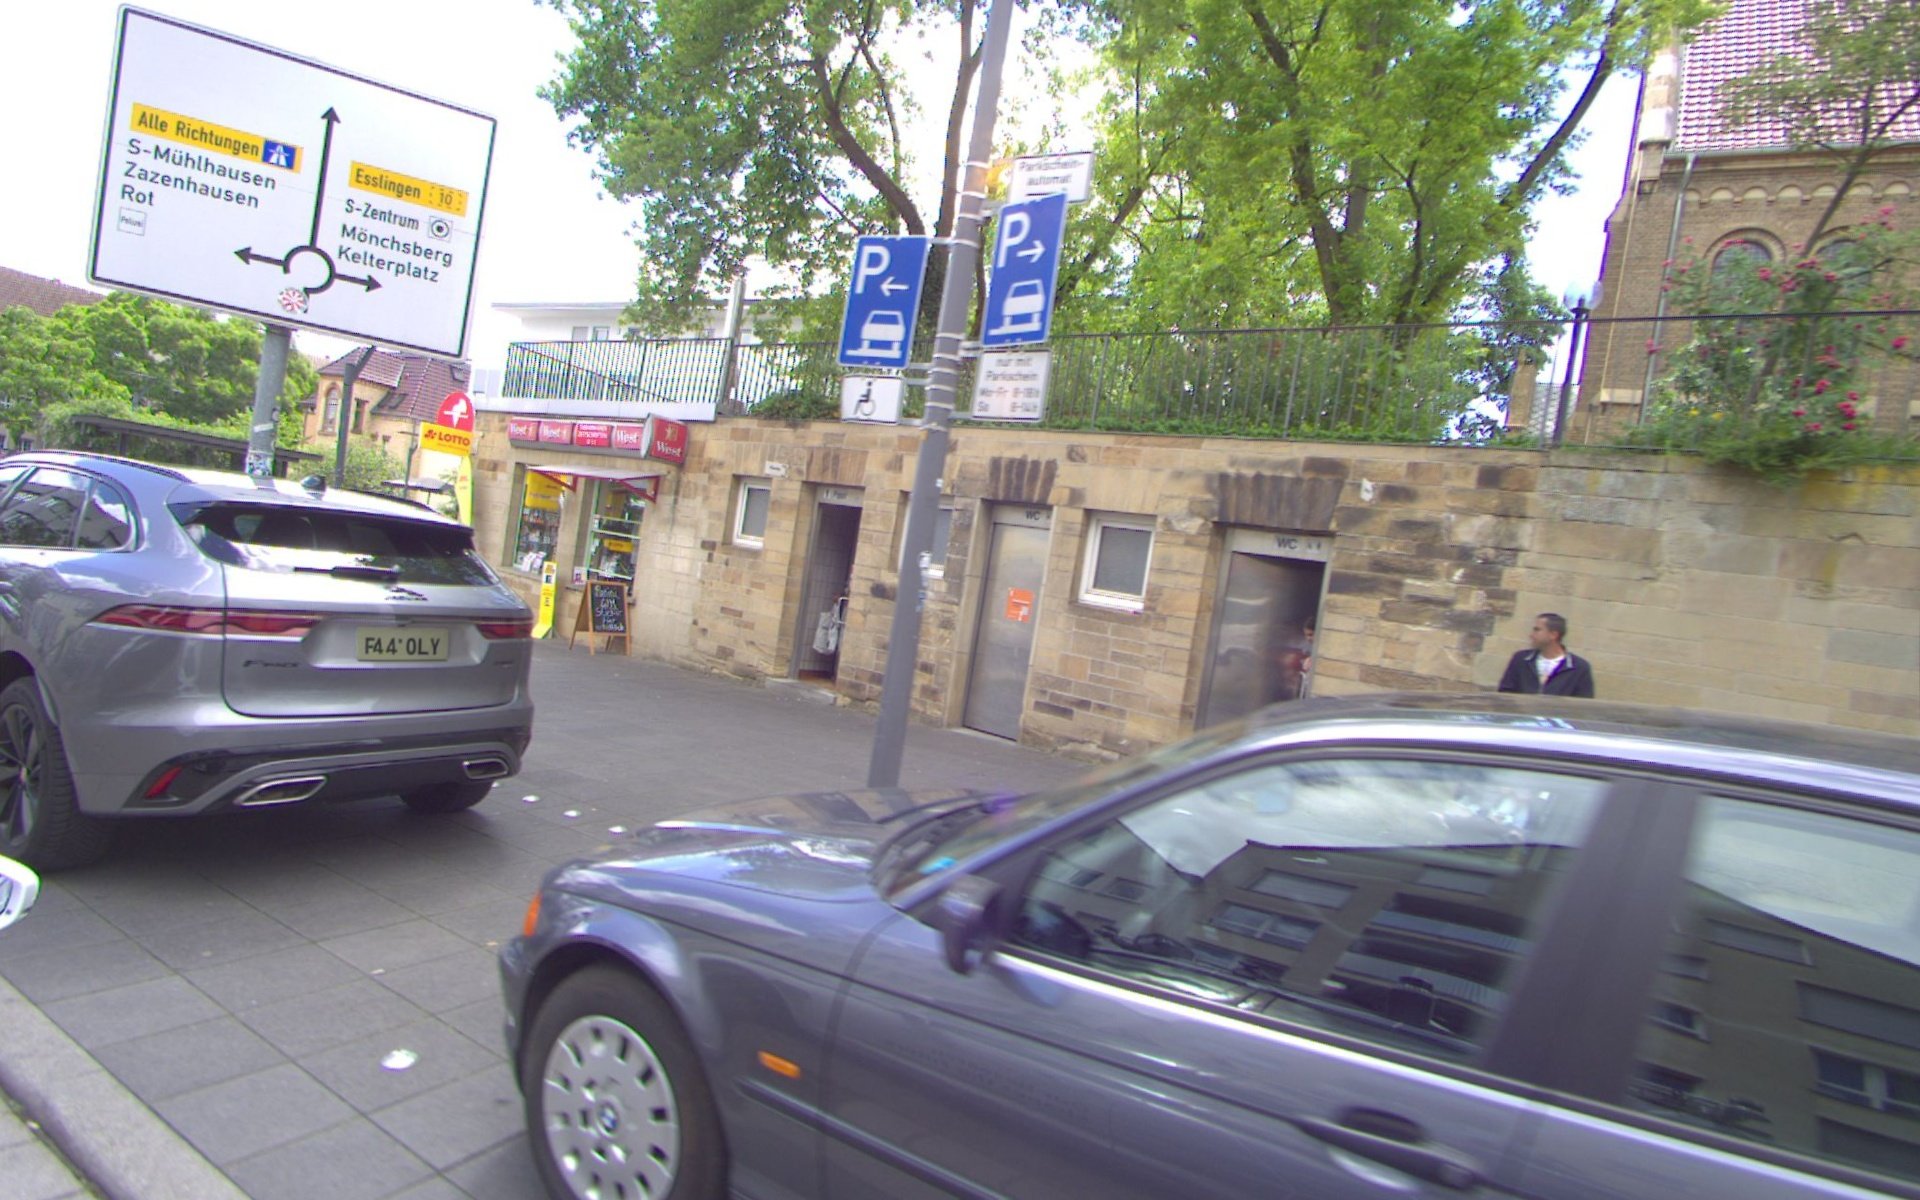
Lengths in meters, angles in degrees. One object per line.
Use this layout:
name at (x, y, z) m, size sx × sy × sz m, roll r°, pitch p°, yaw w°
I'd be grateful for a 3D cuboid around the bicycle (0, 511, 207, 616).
bicycle at (-9.476, -0.373, 11.193) m, size 0.339 × 1.009 × 1.729 m, roll 8°, pitch 1°, yaw 27°

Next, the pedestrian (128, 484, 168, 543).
pedestrian at (-19.427, -2.070, 24.070) m, size 0.533 × 1.278 × 0.567 m, roll 12°, pitch 4°, yaw 40°

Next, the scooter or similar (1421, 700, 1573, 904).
scooter or similar at (3.308, 1.191, 6.178) m, size 0.552 × 1.086 × 0.810 m, roll 7°, pitch 1°, yaw 42°

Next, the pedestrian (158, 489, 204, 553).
pedestrian at (-17.778, -1.802, 22.952) m, size 0.577 × 1.338 × 0.615 m, roll 11°, pitch 4°, yaw 39°

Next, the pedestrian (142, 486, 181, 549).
pedestrian at (-18.440, -1.907, 23.230) m, size 0.566 × 1.338 × 0.494 m, roll 12°, pitch 4°, yaw 39°

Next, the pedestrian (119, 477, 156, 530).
pedestrian at (-22.538, -2.645, 27.569) m, size 0.538 × 1.324 × 0.623 m, roll 9°, pitch 3°, yaw 40°

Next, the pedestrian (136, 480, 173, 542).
pedestrian at (-18.914, -2.095, 23.621) m, size 0.517 × 1.338 × 0.497 m, roll 12°, pitch 4°, yaw 40°

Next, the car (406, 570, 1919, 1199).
car at (0.958, 0.871, 2.003) m, size 4.300 × 1.434 × 1.682 m, roll 5°, pitch -1°, yaw 33°

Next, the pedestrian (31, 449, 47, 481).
pedestrian at (-40.020, -5.851, 43.719) m, size 0.632 × 1.302 × 0.362 m, roll 10°, pitch 3°, yaw 41°

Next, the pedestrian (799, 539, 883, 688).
pedestrian at (-1.483, 0.162, 12.602) m, size 0.748 × 1.754 × 0.597 m, roll 7°, pitch 3°, yaw 7°

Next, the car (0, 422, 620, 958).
car at (-4.162, 0.134, 5.289) m, size 4.497 × 1.746 × 1.931 m, roll 7°, pitch 0°, yaw 31°

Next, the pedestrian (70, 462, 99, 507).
pedestrian at (-28.529, -3.770, 32.789) m, size 0.566 × 1.340 × 0.538 m, roll 7°, pitch 1°, yaw -45°

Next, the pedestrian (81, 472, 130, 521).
pedestrian at (-25.565, -3.090, 30.101) m, size 0.758 × 1.284 × 0.675 m, roll 8°, pitch 1°, yaw -7°

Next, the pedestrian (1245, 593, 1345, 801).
pedestrian at (2.839, 0.809, 8.521) m, size 0.499 × 1.667 × 0.472 m, roll 7°, pitch 1°, yaw 42°

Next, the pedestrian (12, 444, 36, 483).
pedestrian at (-39.955, -5.832, 42.945) m, size 0.446 × 1.527 × 0.504 m, roll 9°, pitch 2°, yaw 21°

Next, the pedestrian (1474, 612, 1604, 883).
pedestrian at (3.815, 0.944, 6.627) m, size 0.499 × 1.667 × 0.472 m, roll 7°, pitch 1°, yaw 42°
